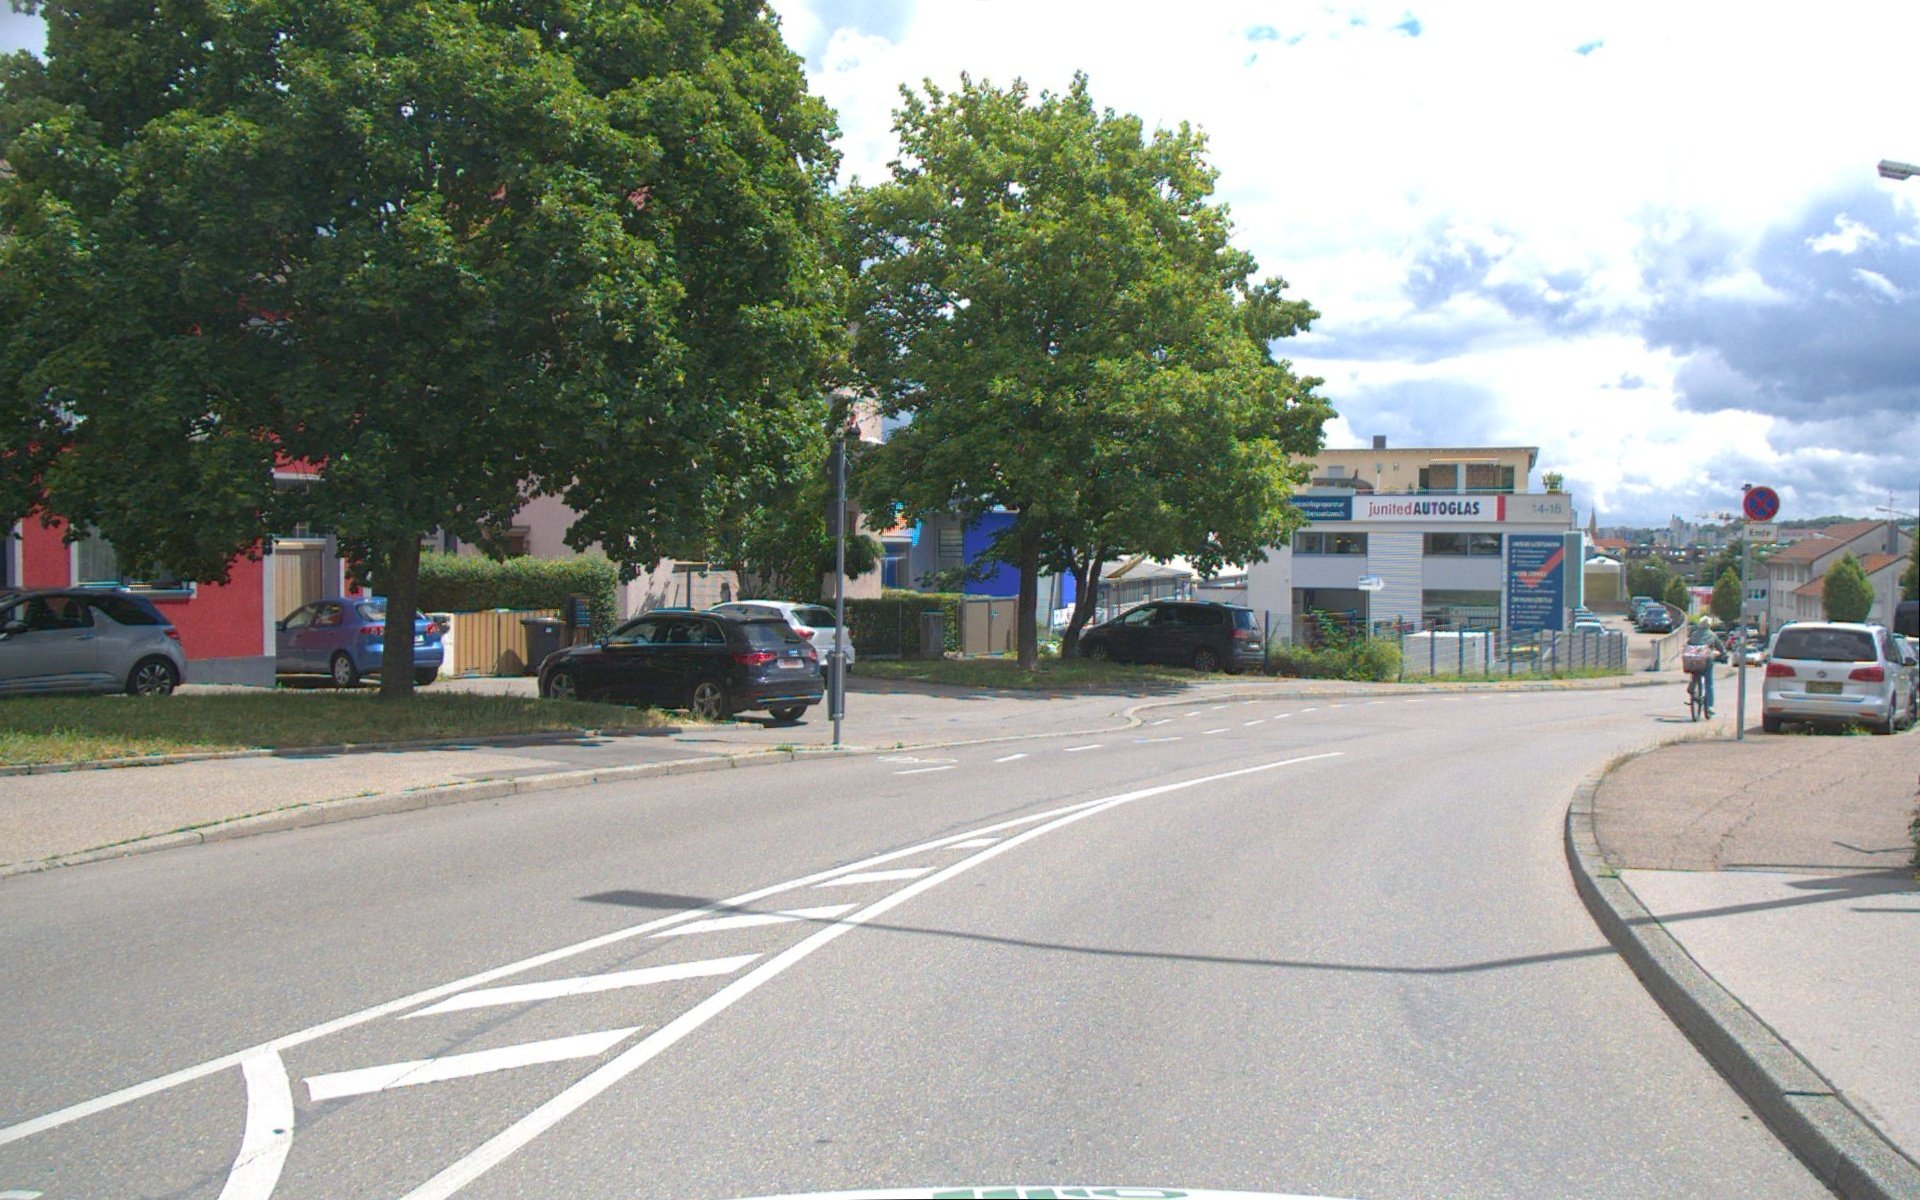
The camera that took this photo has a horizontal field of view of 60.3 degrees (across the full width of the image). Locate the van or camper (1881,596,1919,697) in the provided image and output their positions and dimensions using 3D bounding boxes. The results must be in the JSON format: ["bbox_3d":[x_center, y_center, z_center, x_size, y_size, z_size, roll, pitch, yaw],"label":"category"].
[{"bbox_3d":[26.665,1.285,45.214,2.088,2.630,5.897,0,-1,34],"label":"van or camper"}]

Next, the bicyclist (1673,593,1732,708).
[{"bbox_3d":[12.228,0.833,27.228,0.673,1.858,1.077,-2,-3,35],"label":"bicyclist"}]

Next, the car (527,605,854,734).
[{"bbox_3d":[-3.630,0.856,22.041,4.061,1.417,1.993,2,1,35],"label":"car"}]

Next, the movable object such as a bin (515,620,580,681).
[{"bbox_3d":[-7.602,0.932,30.507,0.744,1.080,0.876,2,0,39],"label":"movable object such as a bin"}]

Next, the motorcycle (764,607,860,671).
[{"bbox_3d":[-3.251,0.864,36.629,0.901,1.338,2.229,2,0,33],"label":"motorcycle"}]

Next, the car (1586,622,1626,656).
[{"bbox_3d":[32.515,1.982,83.316,1.809,1.679,4.000,-1,-2,21],"label":"car"}]

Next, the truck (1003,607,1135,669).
[{"bbox_3d":[5.011,1.771,76.094,5.663,2.754,2.177,-1,-2,22],"label":"truck"}]

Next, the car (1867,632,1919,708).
[{"bbox_3d":[20.647,1.478,35.587,1.675,1.505,3.946,2,0,33],"label":"car"}]

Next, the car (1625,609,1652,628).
[{"bbox_3d":[49.286,1.362,120.172,1.635,1.347,3.718,-1,-2,21],"label":"car"}]

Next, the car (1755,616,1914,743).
[{"bbox_3d":[13.431,1.150,25.281,1.676,1.707,4.294,2,0,34],"label":"car"}]

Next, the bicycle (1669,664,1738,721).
[{"bbox_3d":[12.264,1.509,27.255,0.676,0.894,2.094,-2,-2,34],"label":"bicycle"}]

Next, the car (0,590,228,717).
[{"bbox_3d":[-11.410,0.624,20.448,1.612,1.450,4.065,2,1,34],"label":"car"}]

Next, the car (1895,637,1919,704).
[{"bbox_3d":[23.649,1.697,39.830,1.676,1.537,3.684,2,0,34],"label":"car"}]

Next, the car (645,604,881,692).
[{"bbox_3d":[-3.512,0.813,29.429,3.848,1.428,1.871,1,-1,32],"label":"car"}]

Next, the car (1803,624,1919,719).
[{"bbox_3d":[16.436,1.226,29.782,1.676,1.513,4.558,2,0,34],"label":"car"}]

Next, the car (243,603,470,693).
[{"bbox_3d":[-10.210,0.766,27.915,3.737,1.402,1.836,0,0,35],"label":"car"}]

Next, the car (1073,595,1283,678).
[{"bbox_3d":[5.274,0.871,40.258,4.618,1.746,1.993,2,-1,35],"label":"car"}]

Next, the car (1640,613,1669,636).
[{"bbox_3d":[43.389,1.555,103.375,1.636,1.347,3.716,0,-2,23],"label":"car"}]
